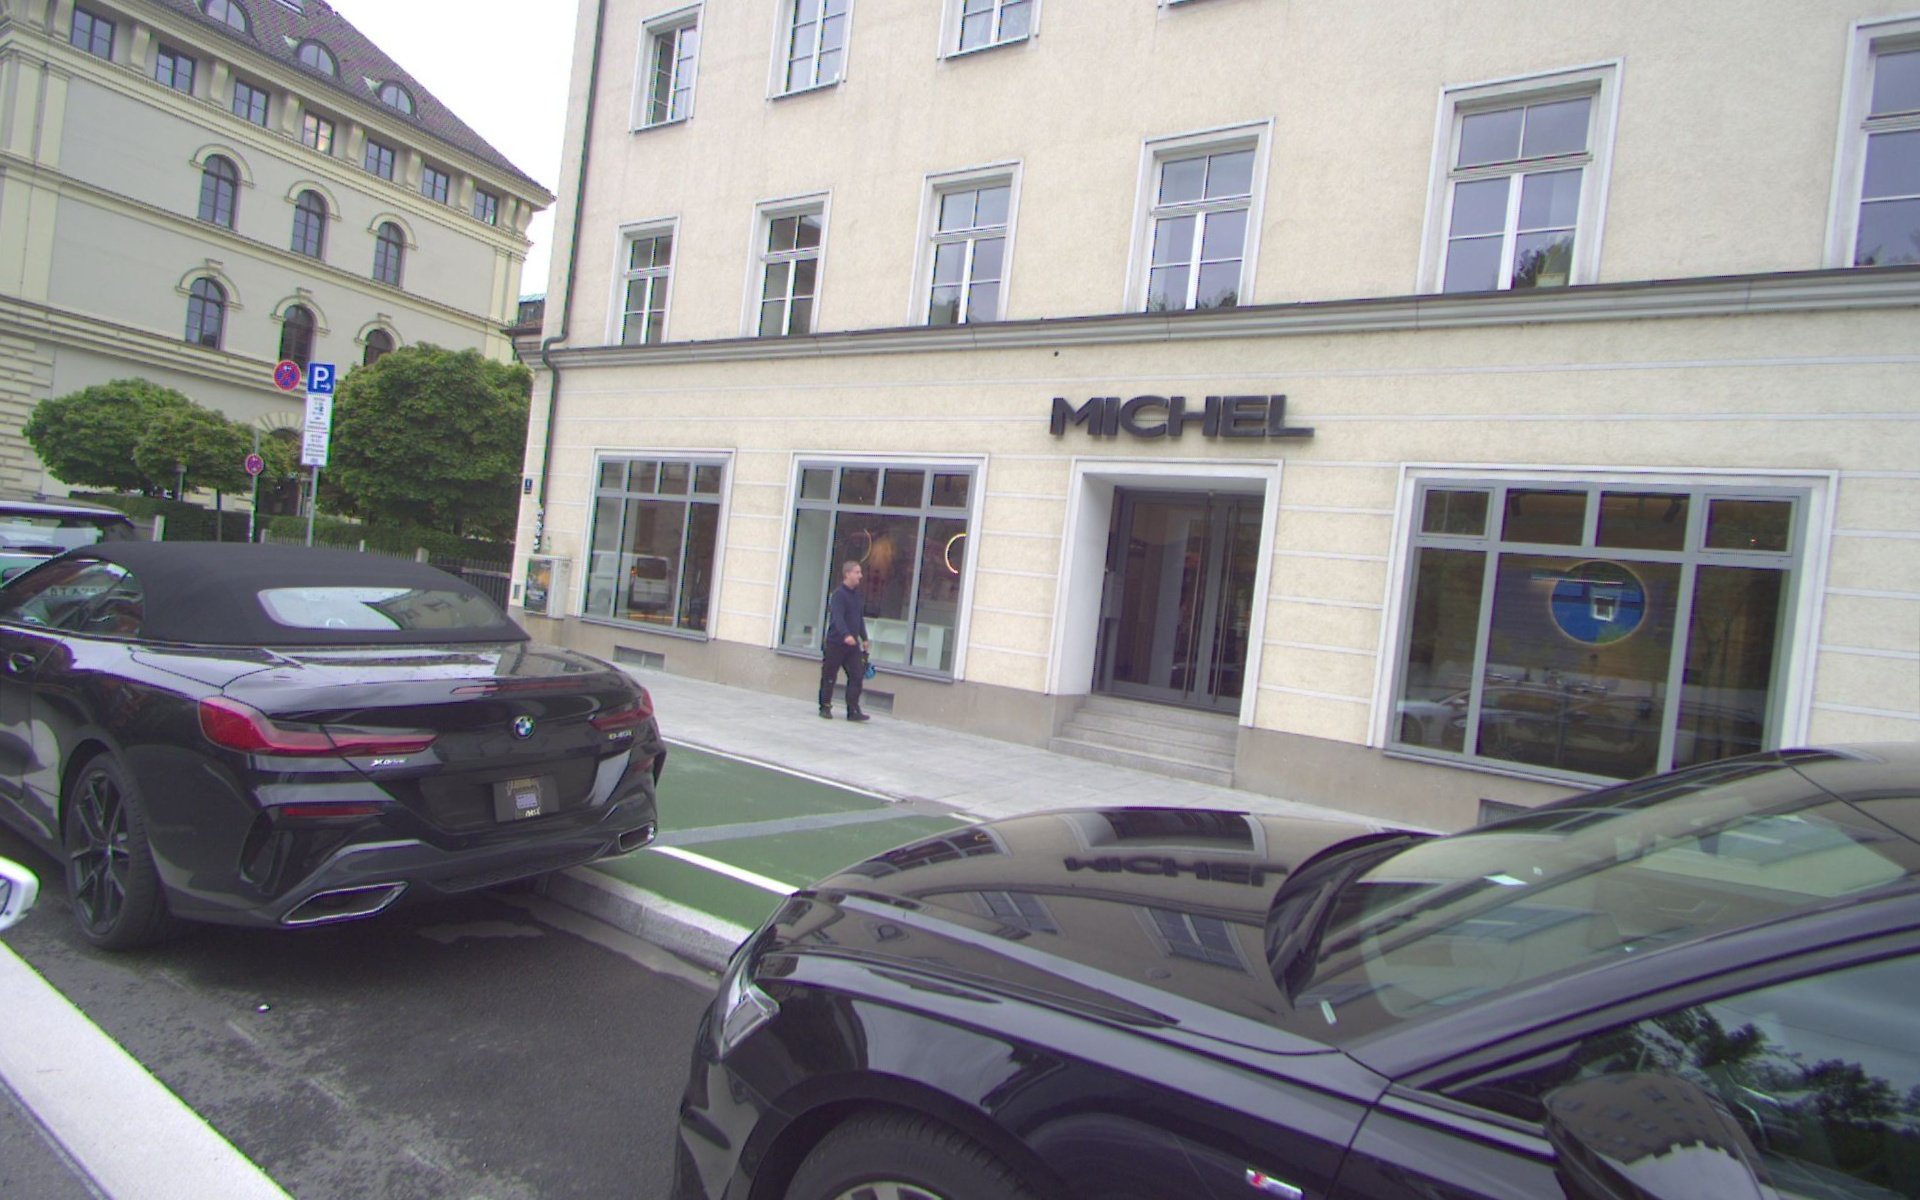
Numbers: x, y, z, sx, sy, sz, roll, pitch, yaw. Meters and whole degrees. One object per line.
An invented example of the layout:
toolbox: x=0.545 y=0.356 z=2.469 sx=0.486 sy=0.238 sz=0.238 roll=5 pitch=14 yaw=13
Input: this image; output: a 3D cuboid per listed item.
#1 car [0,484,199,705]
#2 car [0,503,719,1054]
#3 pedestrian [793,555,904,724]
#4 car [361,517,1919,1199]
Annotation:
car: x=-7.807 y=-0.179 z=8.018 sx=3.368 sy=1.514 sz=1.612 roll=7 pitch=0 yaw=32
car: x=-3.353 y=0.411 z=4.667 sx=4.354 sy=1.403 sz=1.682 roll=7 pitch=-1 yaw=32
pedestrian: x=-1.312 y=0.472 z=11.882 sx=0.764 sy=1.859 sz=0.791 roll=8 pitch=1 yaw=33
car: x=1.273 y=0.888 z=1.698 sx=4.607 sy=1.498 sz=1.805 roll=7 pitch=0 yaw=30
